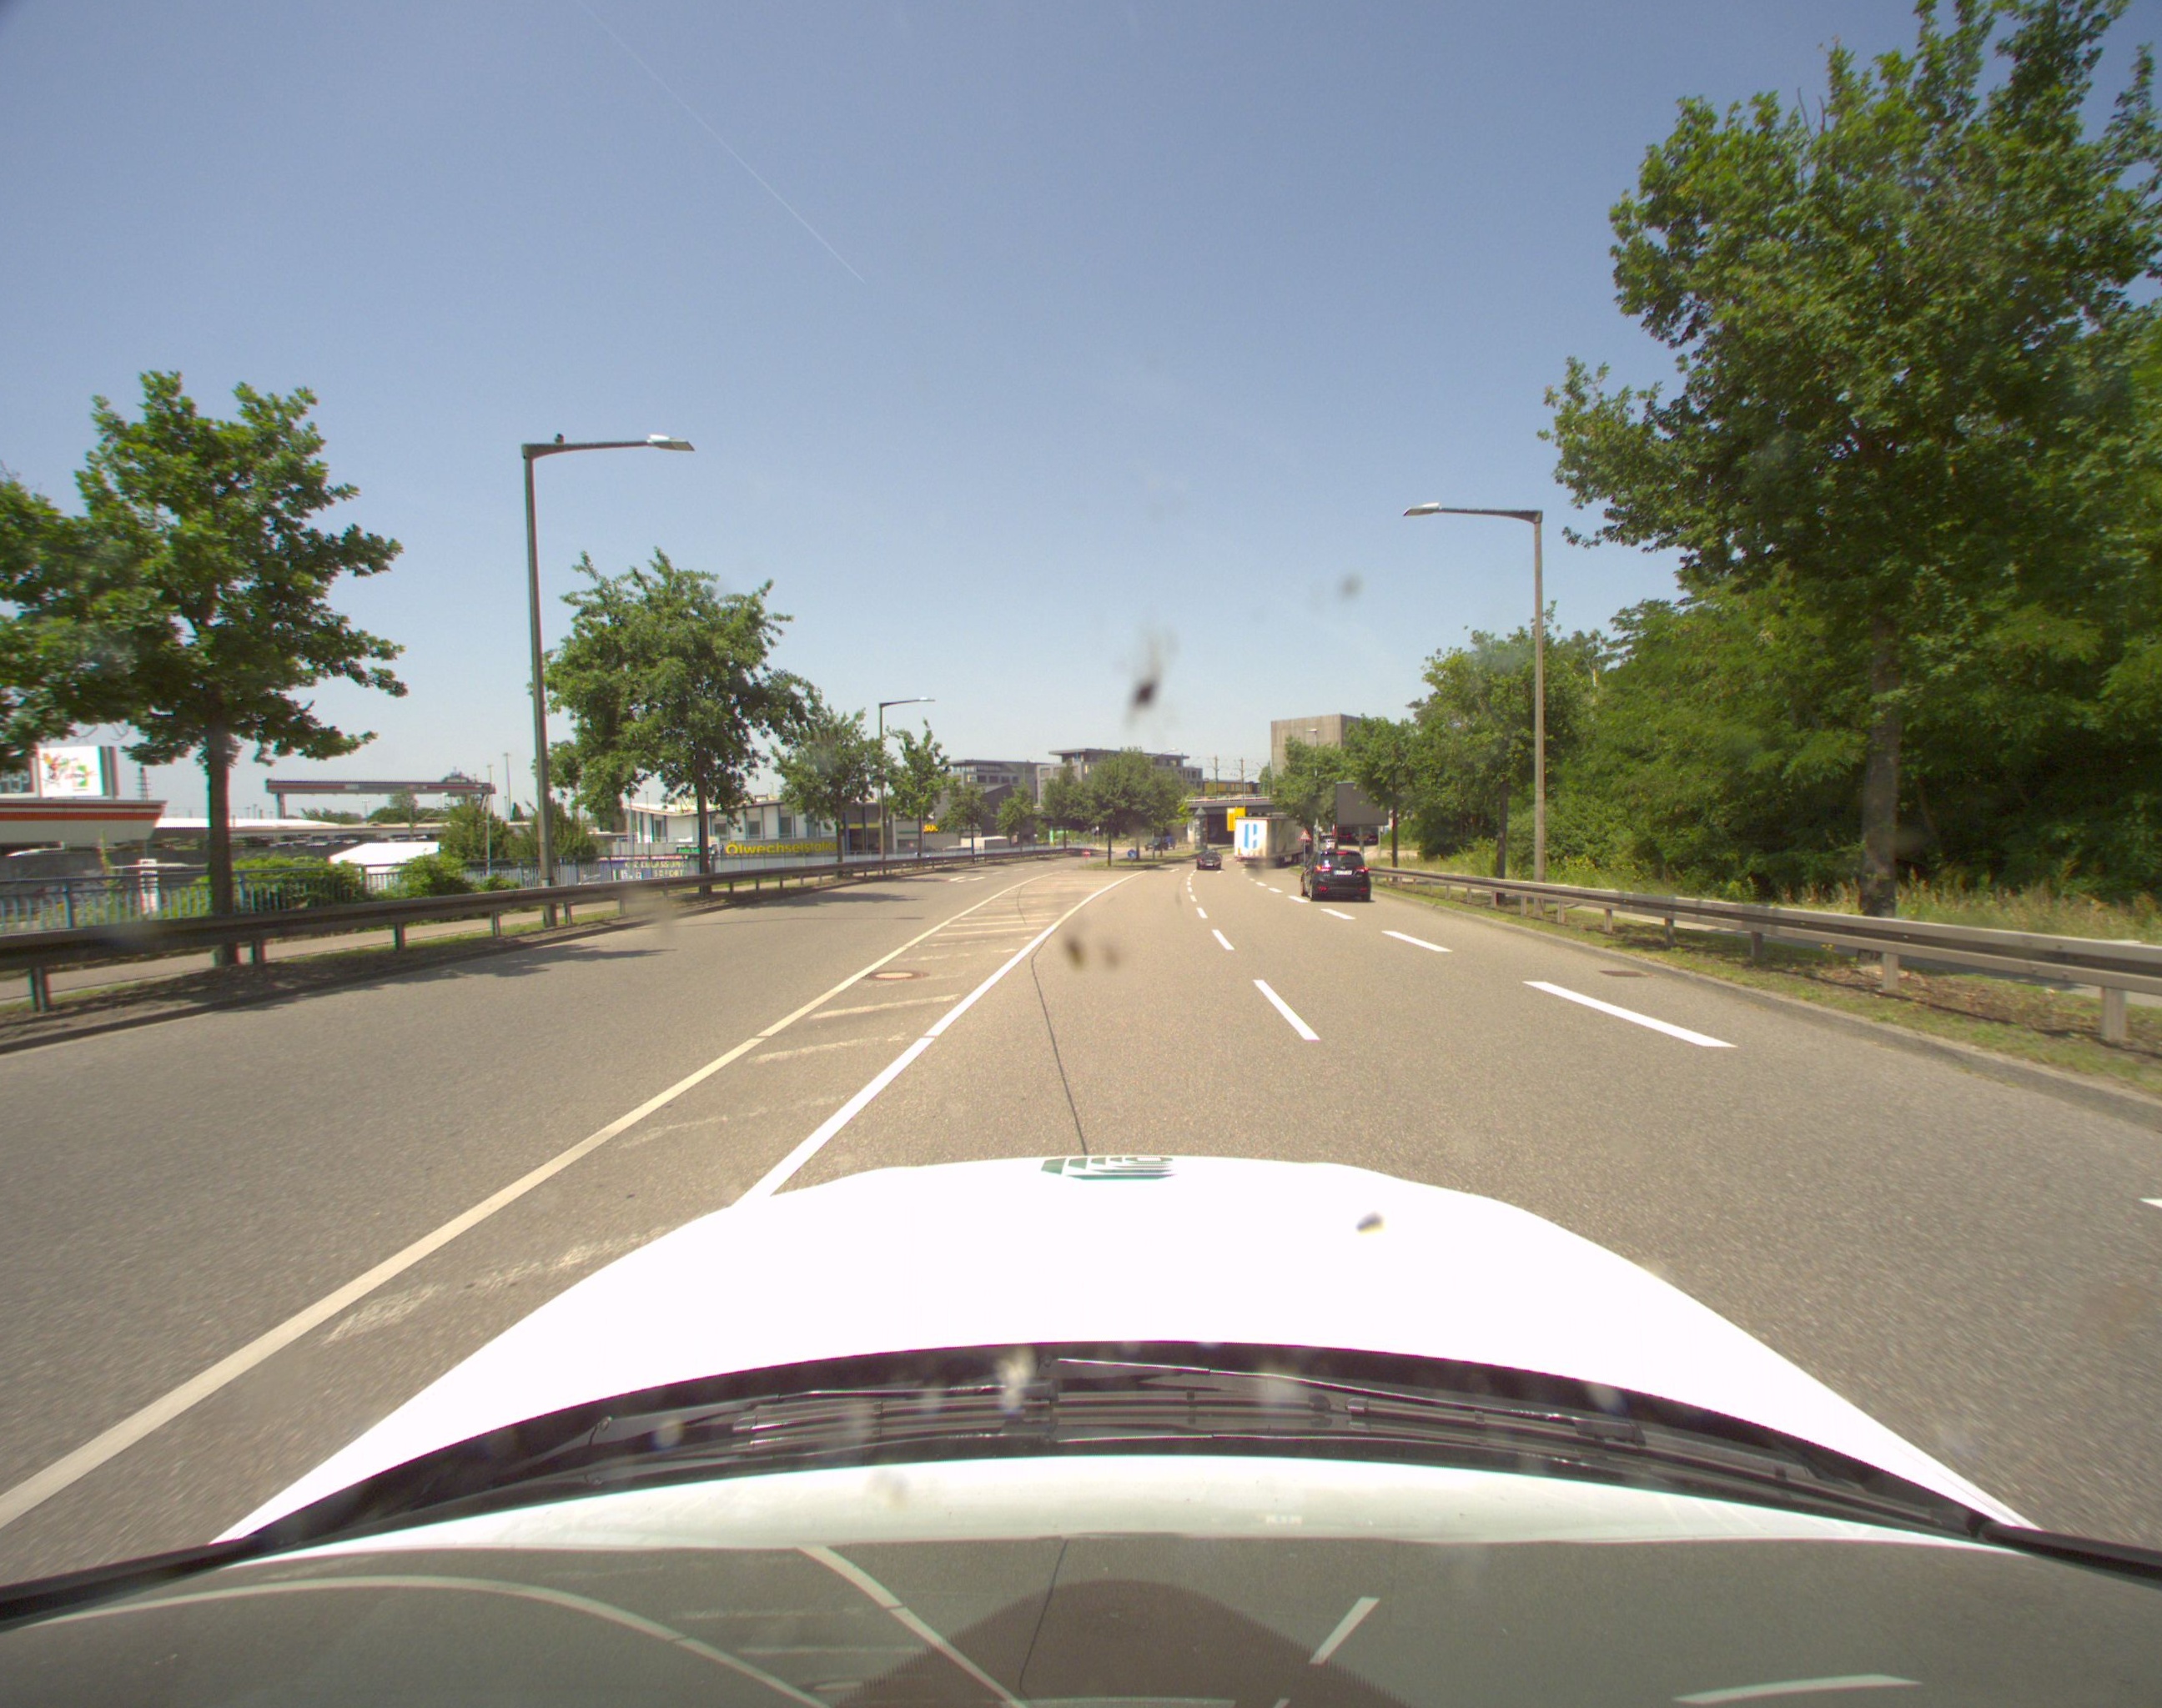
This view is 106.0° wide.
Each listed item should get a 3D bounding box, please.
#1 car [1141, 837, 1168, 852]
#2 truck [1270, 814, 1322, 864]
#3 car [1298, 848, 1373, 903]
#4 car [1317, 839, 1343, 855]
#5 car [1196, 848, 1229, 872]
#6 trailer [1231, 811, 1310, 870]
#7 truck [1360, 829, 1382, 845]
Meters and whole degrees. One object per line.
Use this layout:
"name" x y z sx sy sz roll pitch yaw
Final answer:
"car" 9.417 -1.189 103.802 1.897 1.652 4.434 -5 -1 26
"truck" 20.182 -1.400 76.205 3.047 4.367 6.117 3 3 30
"car" 8.046 0.628 26.082 1.756 1.599 4.089 0 1 9
"car" 31.828 -0.867 104.211 1.989 2.013 3.995 -1 0 -4
"car" 9.603 0.394 59.267 1.943 1.633 4.296 -2 0 14
"trailer" 16.336 -1.190 68.847 3.050 4.367 14.862 3 3 26
"truck" 49.055 -2.881 137.816 2.048 2.537 4.025 -1 1 41
